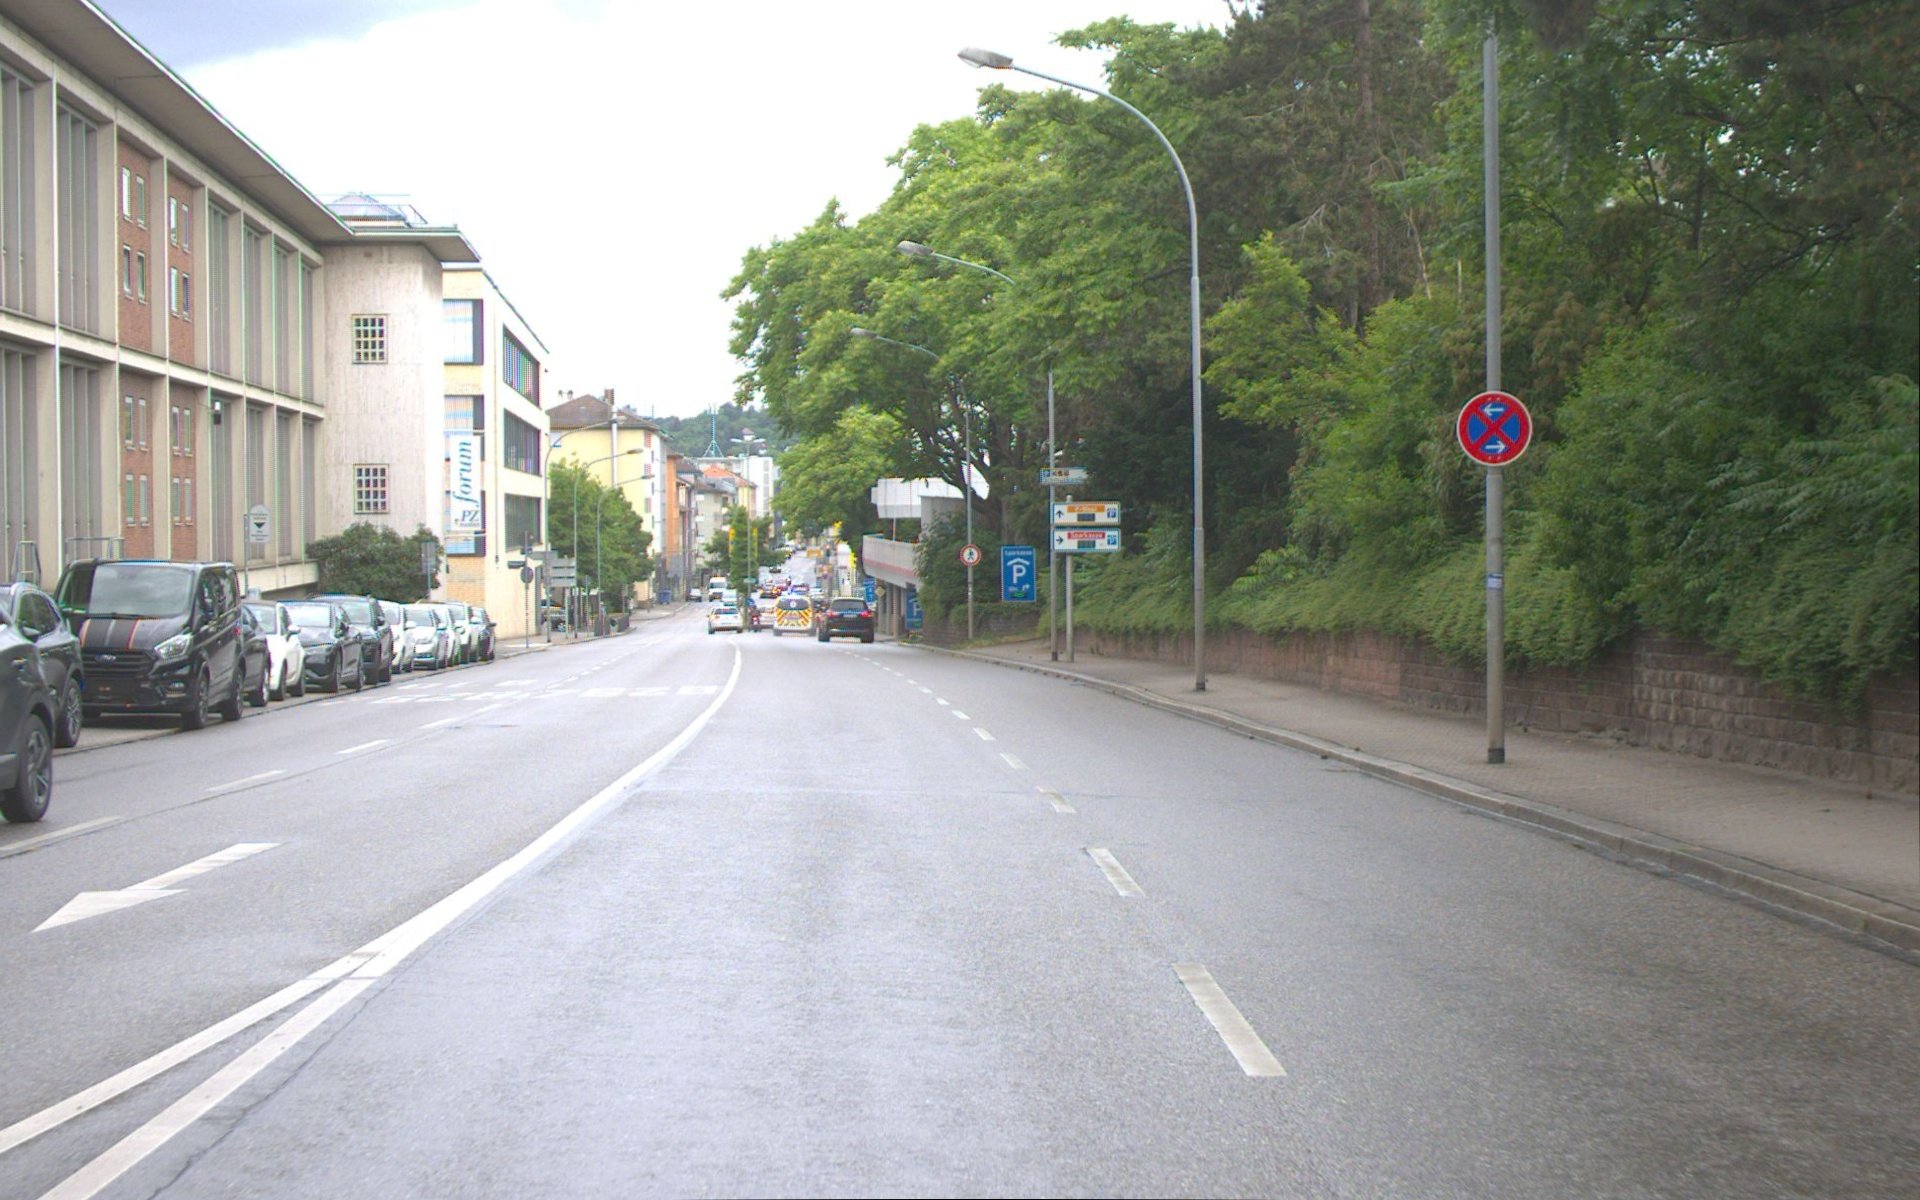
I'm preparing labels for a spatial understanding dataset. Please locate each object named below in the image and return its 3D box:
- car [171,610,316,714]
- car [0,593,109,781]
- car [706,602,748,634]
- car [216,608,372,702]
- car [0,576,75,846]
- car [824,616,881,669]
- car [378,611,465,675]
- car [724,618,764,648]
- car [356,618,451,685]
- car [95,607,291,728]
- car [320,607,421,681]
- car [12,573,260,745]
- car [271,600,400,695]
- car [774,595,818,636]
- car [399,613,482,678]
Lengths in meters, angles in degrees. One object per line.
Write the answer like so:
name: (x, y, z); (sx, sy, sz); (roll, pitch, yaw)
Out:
car: (-10.814, 0.910, 52.064); (1.566, 1.479, 3.553); (-1, 0, -2)
car: (-9.532, 0.778, 32.750); (1.797, 1.670, 4.603); (0, 0, -1)
car: (-12.661, 0.951, 186.610); (1.993, 1.674, 4.001); (0, 1, -8)
car: (-11.050, 0.887, 57.339); (1.815, 1.479, 4.909); (0, 0, -2)
car: (-6.848, 0.716, 20.660); (1.821, 1.655, 4.337); (-2, 1, 1)
car: (-4.265, 1.654, 135.879); (2.091, 1.904, 4.100); (-2, 1, -3)
car: (-13.010, 1.028, 83.225); (1.747, 1.449, 4.182); (2, 0, -5)
car: (-12.472, 1.902, 198.285); (1.993, 1.674, 4.001); (0, 0, -8)
car: (-12.554, 1.150, 77.776); (1.747, 1.430, 4.486); (2, -1, -5)
car: (-10.506, 0.887, 47.351); (1.860, 1.546, 4.313); (-1, 0, -2)
car: (-12.411, 0.920, 72.553); (1.679, 1.517, 3.921); (0, 0, -3)
car: (-9.881, 0.655, 41.610); (1.948, 1.937, 4.996); (-1, 0, -2)
car: (-11.451, 0.869, 63.306); (1.841, 1.648, 4.516); (1, -1, -4)
car: (-7.826, 0.716, 163.673); (1.993, 1.831, 4.001); (-2, 1, -4)
car: (-13.347, 1.151, 88.529); (1.748, 1.592, 4.182); (2, 0, -4)
